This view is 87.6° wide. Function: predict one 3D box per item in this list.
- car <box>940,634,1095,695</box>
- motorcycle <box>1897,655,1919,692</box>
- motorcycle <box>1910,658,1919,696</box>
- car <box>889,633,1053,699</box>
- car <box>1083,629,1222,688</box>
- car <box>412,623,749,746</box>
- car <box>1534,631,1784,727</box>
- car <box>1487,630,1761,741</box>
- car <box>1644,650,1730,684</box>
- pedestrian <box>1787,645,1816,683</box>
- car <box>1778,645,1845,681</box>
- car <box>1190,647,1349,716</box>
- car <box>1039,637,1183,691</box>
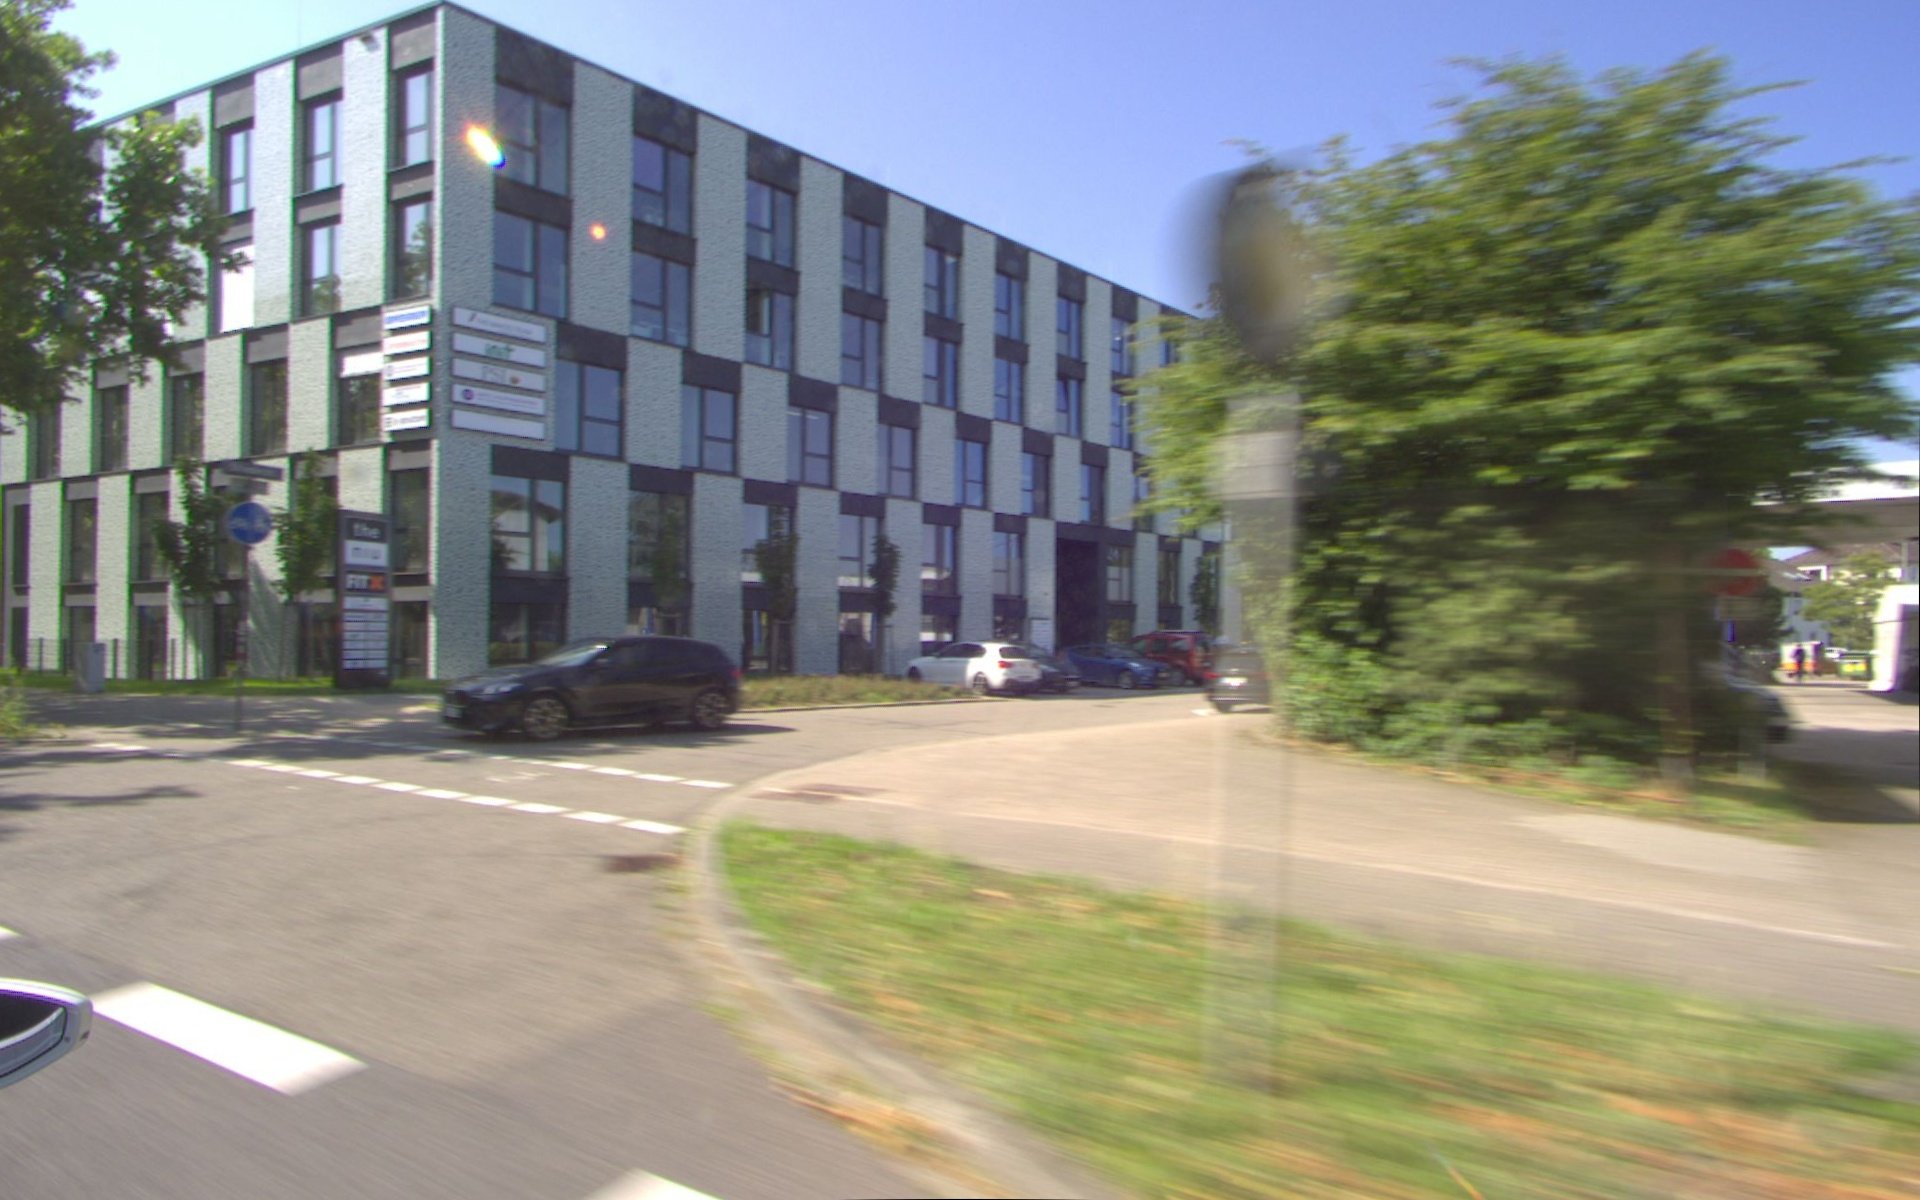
[{"bbox_3d":[1.650,1.894,29.987,1.982,1.572,4.435,3,-2,-45],"label":"car"},{"bbox_3d":[28.862,2.171,29.198,0.847,1.057,2.211,1,-2,-43],"label":"motorcycle"},{"bbox_3d":[27.845,2.166,27.731,0.847,1.057,2.211,1,-2,-43],"label":"motorcycle"},{"bbox_3d":[0.246,1.769,27.812,1.982,1.572,4.435,3,-2,-45],"label":"car"},{"bbox_3d":[6.649,1.990,34.886,1.982,1.875,4.436,3,-2,-45],"label":"car"},{"bbox_3d":[-5.437,1.172,14.791,1.977,1.536,4.230,-1,-3,41],"label":"car"},{"bbox_3d":[13.539,1.462,19.644,1.653,1.683,3.739,1,-2,-22],"label":"car"},{"bbox_3d":[11.533,1.398,17.694,1.653,1.683,3.739,-1,-1,-22],"label":"car"},{"bbox_3d":[49.988,4.574,68.894,1.833,1.987,4.369,2,1,-32],"label":"car"},{"bbox_3d":[36.694,2.795,43.681,0.949,1.623,0.862,-1,-2,39],"label":"pedestrian"},{"bbox_3d":[49.181,3.635,57.804,3.656,1.905,1.686,3,-3,-27],"label":"car"},{"bbox_3d":[7.048,1.786,22.598,1.851,1.415,4.022,-3,-4,43],"label":"car"},{"bbox_3d":[4.938,2.073,33.214,1.982,1.571,4.436,3,-3,-45],"label":"car"}]
